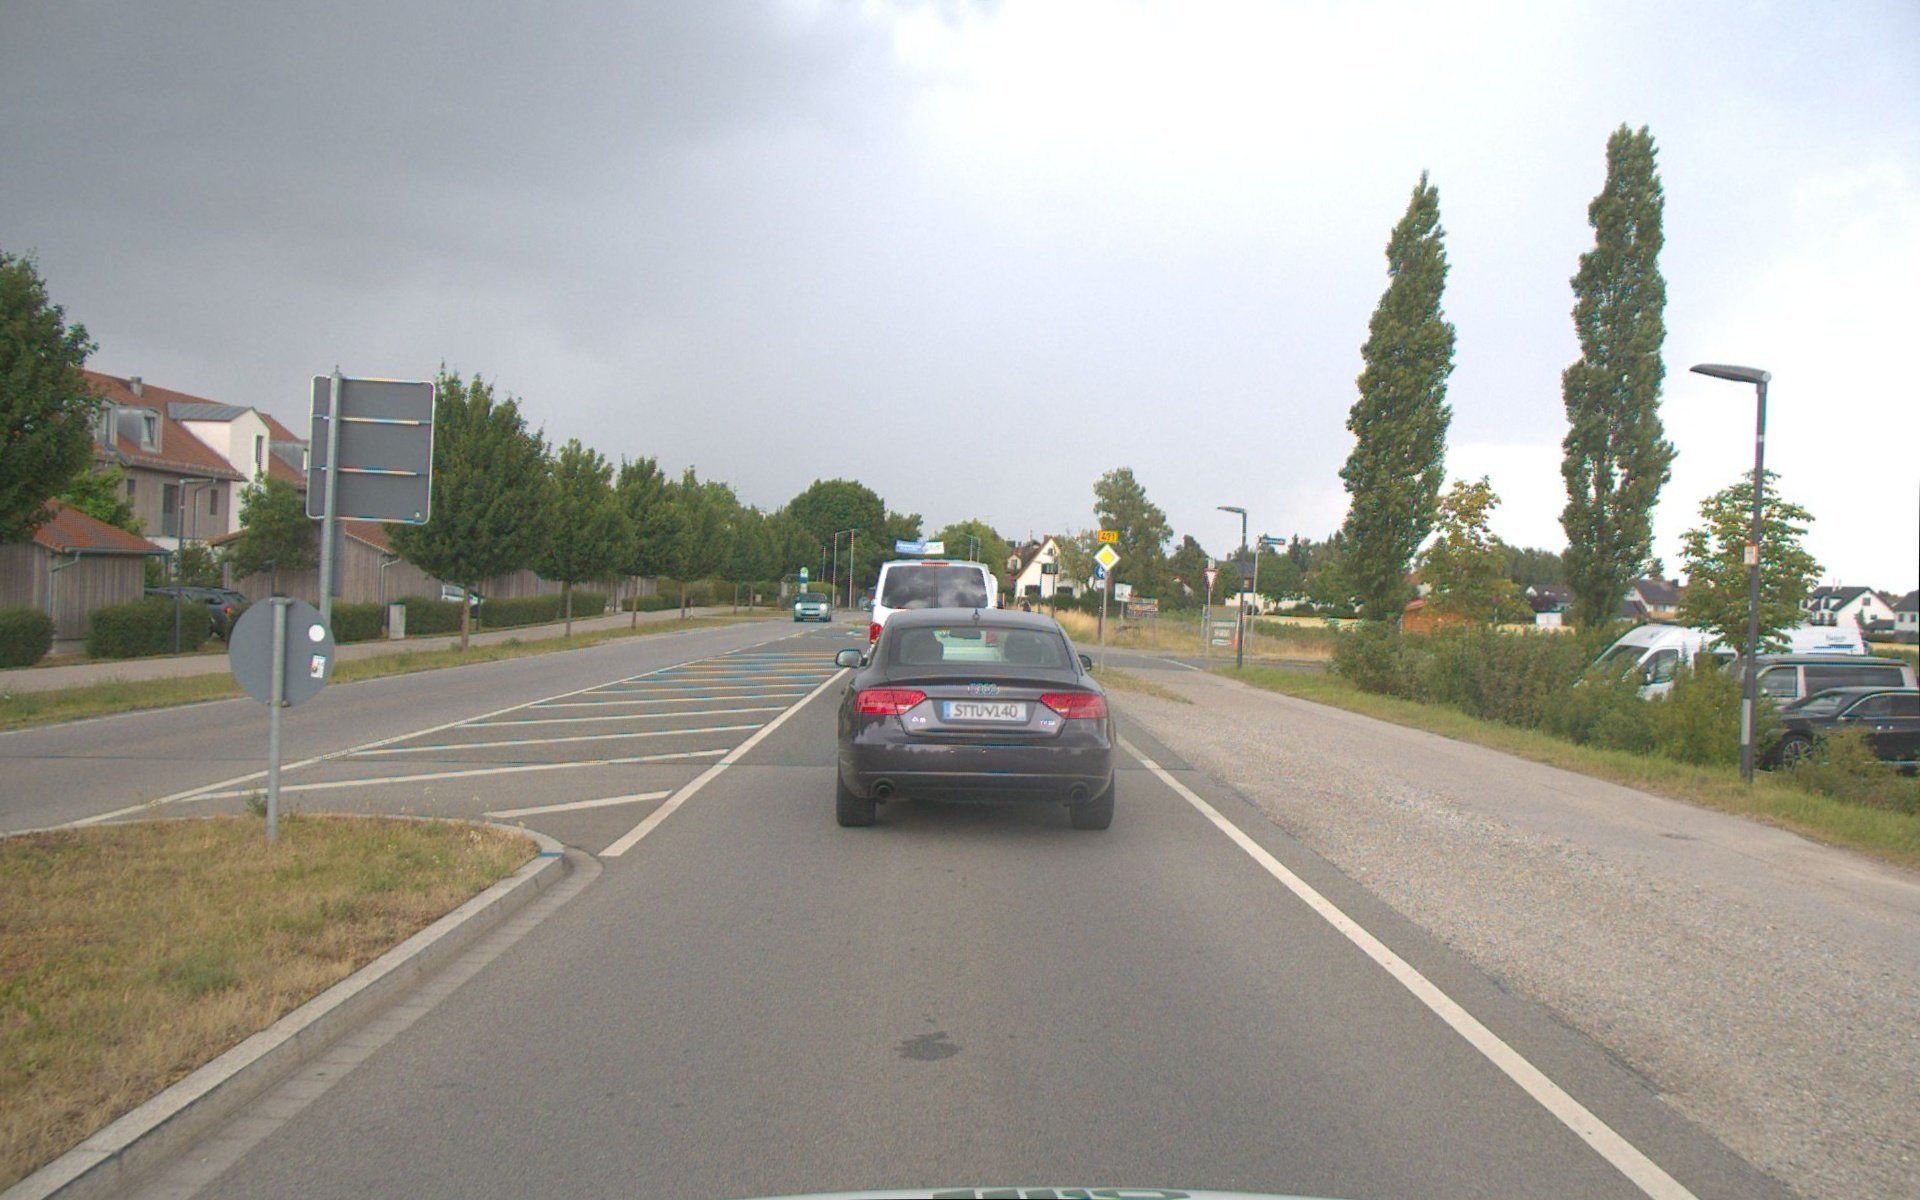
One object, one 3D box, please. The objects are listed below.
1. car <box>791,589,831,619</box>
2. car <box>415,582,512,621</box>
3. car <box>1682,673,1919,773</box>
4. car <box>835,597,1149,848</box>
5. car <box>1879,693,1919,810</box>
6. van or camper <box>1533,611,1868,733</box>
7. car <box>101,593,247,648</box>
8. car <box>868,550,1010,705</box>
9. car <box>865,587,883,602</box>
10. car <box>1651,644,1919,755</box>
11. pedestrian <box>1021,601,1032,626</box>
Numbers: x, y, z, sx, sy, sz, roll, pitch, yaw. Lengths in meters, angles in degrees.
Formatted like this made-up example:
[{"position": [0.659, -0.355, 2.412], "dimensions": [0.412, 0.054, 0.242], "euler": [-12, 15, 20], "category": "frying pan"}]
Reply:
[{"position": [-7.628, 0.193, 84.951], "dimensions": [1.734, 1.469, 4.000], "euler": [1, 0, -1], "category": "car"}, {"position": [-23.497, 0.069, 78.394], "dimensions": [3.905, 1.583, 2.000], "euler": [3, 0, 0], "category": "car"}, {"position": [15.855, 2.197, 29.738], "dimensions": [4.993, 1.626, 1.757], "euler": [1, 0, -3], "category": "car"}, {"position": [0.031, 0.707, 11.839], "dimensions": [1.790, 1.413, 4.383], "euler": [0, 1, -5], "category": "car"}, {"position": [15.917, 2.247, 23.963], "dimensions": [4.063, 1.626, 2.079], "euler": [1, 0, -3], "category": "car"}, {"position": [16.095, 1.531, 36.167], "dimensions": [6.337, 2.507, 2.280], "euler": [1, 0, -3], "category": "van or camper"}, {"position": [-22.595, 0.589, 47.627], "dimensions": [3.443, 1.515, 1.563], "euler": [1, 0, -1], "category": "car"}, {"position": [-0.352, 0.348, 23.821], "dimensions": [1.789, 1.946, 3.998], "euler": [3, 0, -2], "category": "car"}, {"position": [-8.473, -0.566, 162.783], "dimensions": [1.620, 1.454, 3.601], "euler": [1, 0, -1], "category": "car"}, {"position": [16.476, 1.963, 33.071], "dimensions": [4.501, 2.049, 1.999], "euler": [1, 0, -3], "category": "car"}, {"position": [4.042, 0.829, 100.939], "dimensions": [0.611, 1.551, 0.679], "euler": [1, 0, -1], "category": "pedestrian"}]
